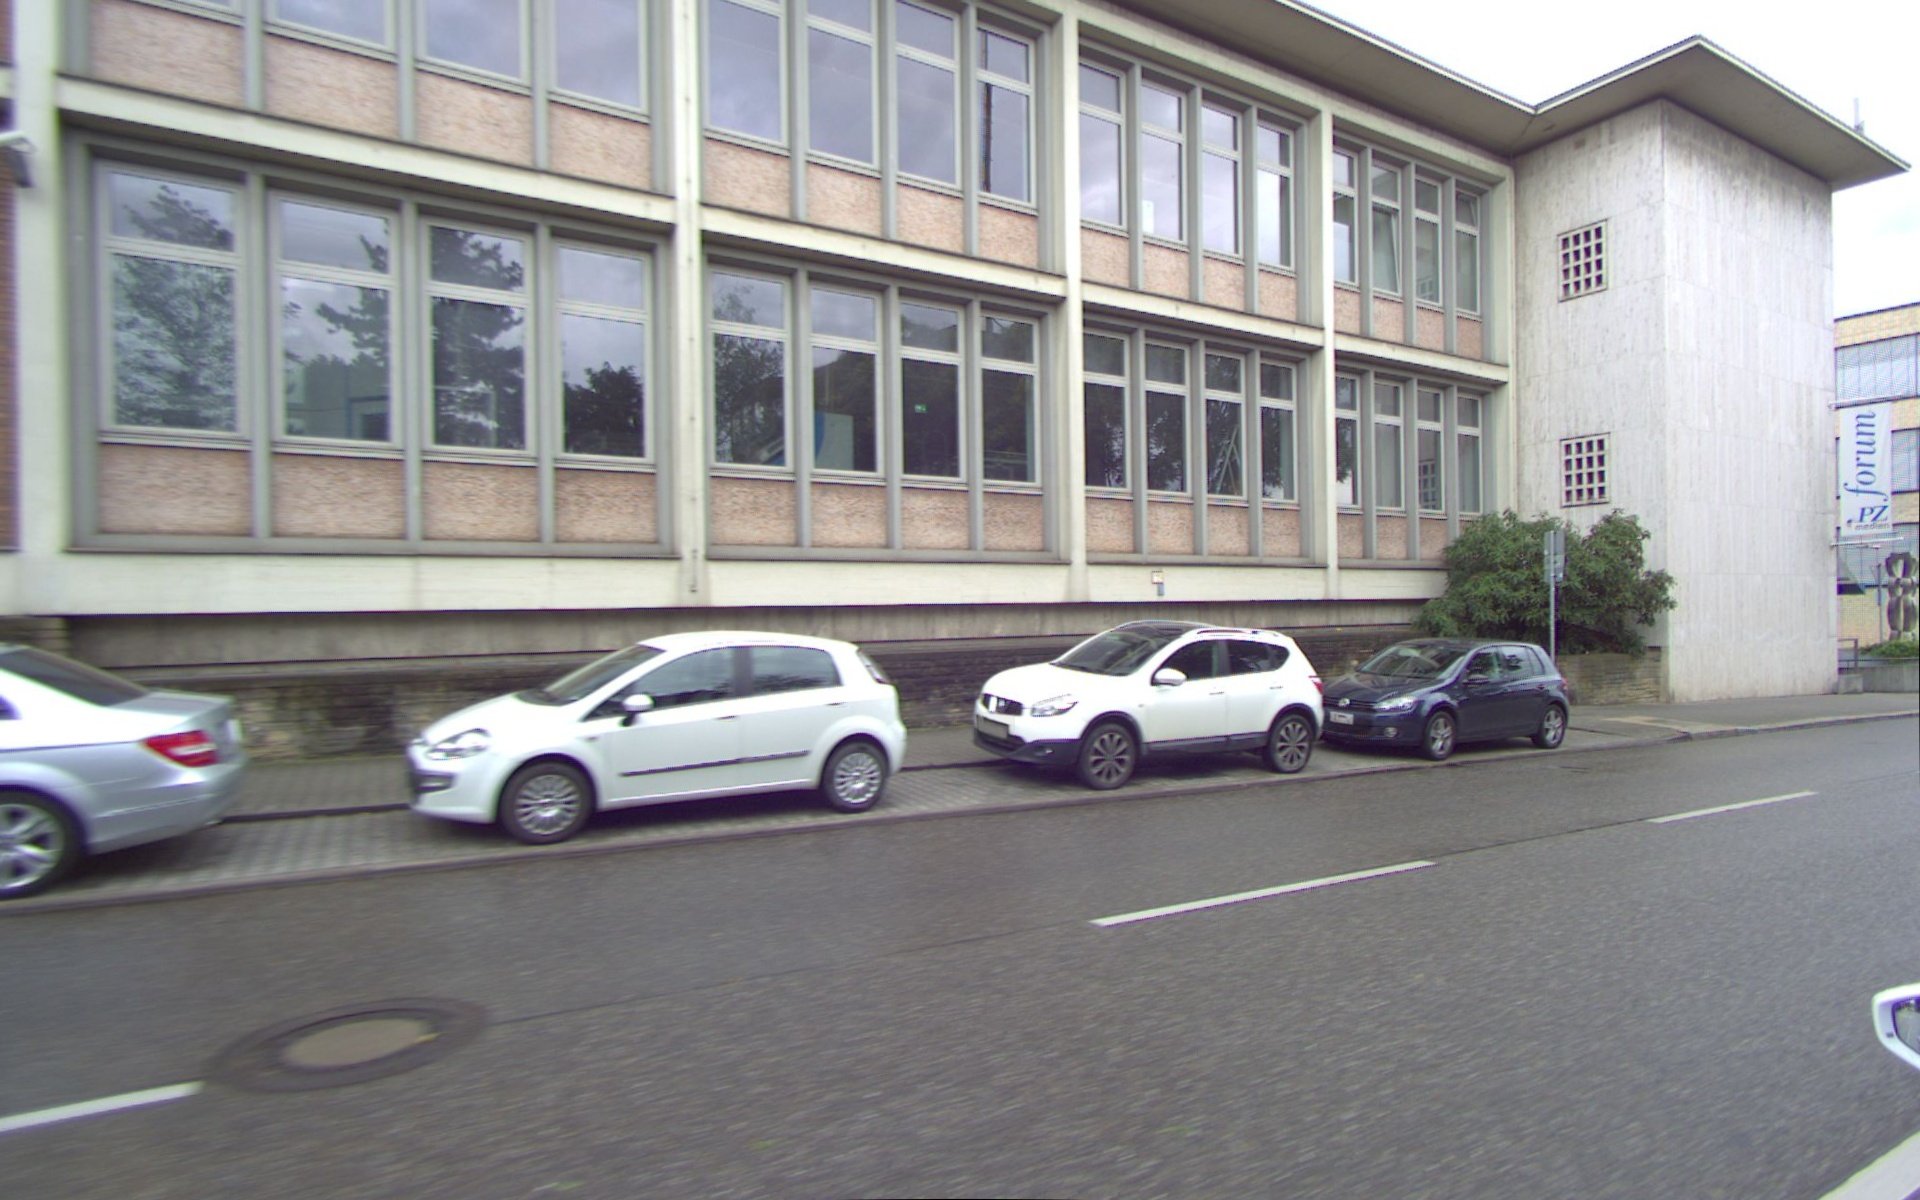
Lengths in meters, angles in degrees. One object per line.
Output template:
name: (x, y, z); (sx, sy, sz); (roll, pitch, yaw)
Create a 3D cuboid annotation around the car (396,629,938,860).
car: (-2.412, 1.027, 8.583); (4.134, 1.473, 1.738); (1, 1, -32)

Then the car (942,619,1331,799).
car: (2.032, 1.071, 11.214); (4.133, 1.619, 1.739); (1, 1, -31)

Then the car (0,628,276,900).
car: (-6.742, 0.921, 5.848); (4.436, 1.454, 1.738); (2, 1, -32)

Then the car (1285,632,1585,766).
car: (6.558, 1.237, 13.769); (4.134, 1.499, 1.738); (1, 1, -32)
